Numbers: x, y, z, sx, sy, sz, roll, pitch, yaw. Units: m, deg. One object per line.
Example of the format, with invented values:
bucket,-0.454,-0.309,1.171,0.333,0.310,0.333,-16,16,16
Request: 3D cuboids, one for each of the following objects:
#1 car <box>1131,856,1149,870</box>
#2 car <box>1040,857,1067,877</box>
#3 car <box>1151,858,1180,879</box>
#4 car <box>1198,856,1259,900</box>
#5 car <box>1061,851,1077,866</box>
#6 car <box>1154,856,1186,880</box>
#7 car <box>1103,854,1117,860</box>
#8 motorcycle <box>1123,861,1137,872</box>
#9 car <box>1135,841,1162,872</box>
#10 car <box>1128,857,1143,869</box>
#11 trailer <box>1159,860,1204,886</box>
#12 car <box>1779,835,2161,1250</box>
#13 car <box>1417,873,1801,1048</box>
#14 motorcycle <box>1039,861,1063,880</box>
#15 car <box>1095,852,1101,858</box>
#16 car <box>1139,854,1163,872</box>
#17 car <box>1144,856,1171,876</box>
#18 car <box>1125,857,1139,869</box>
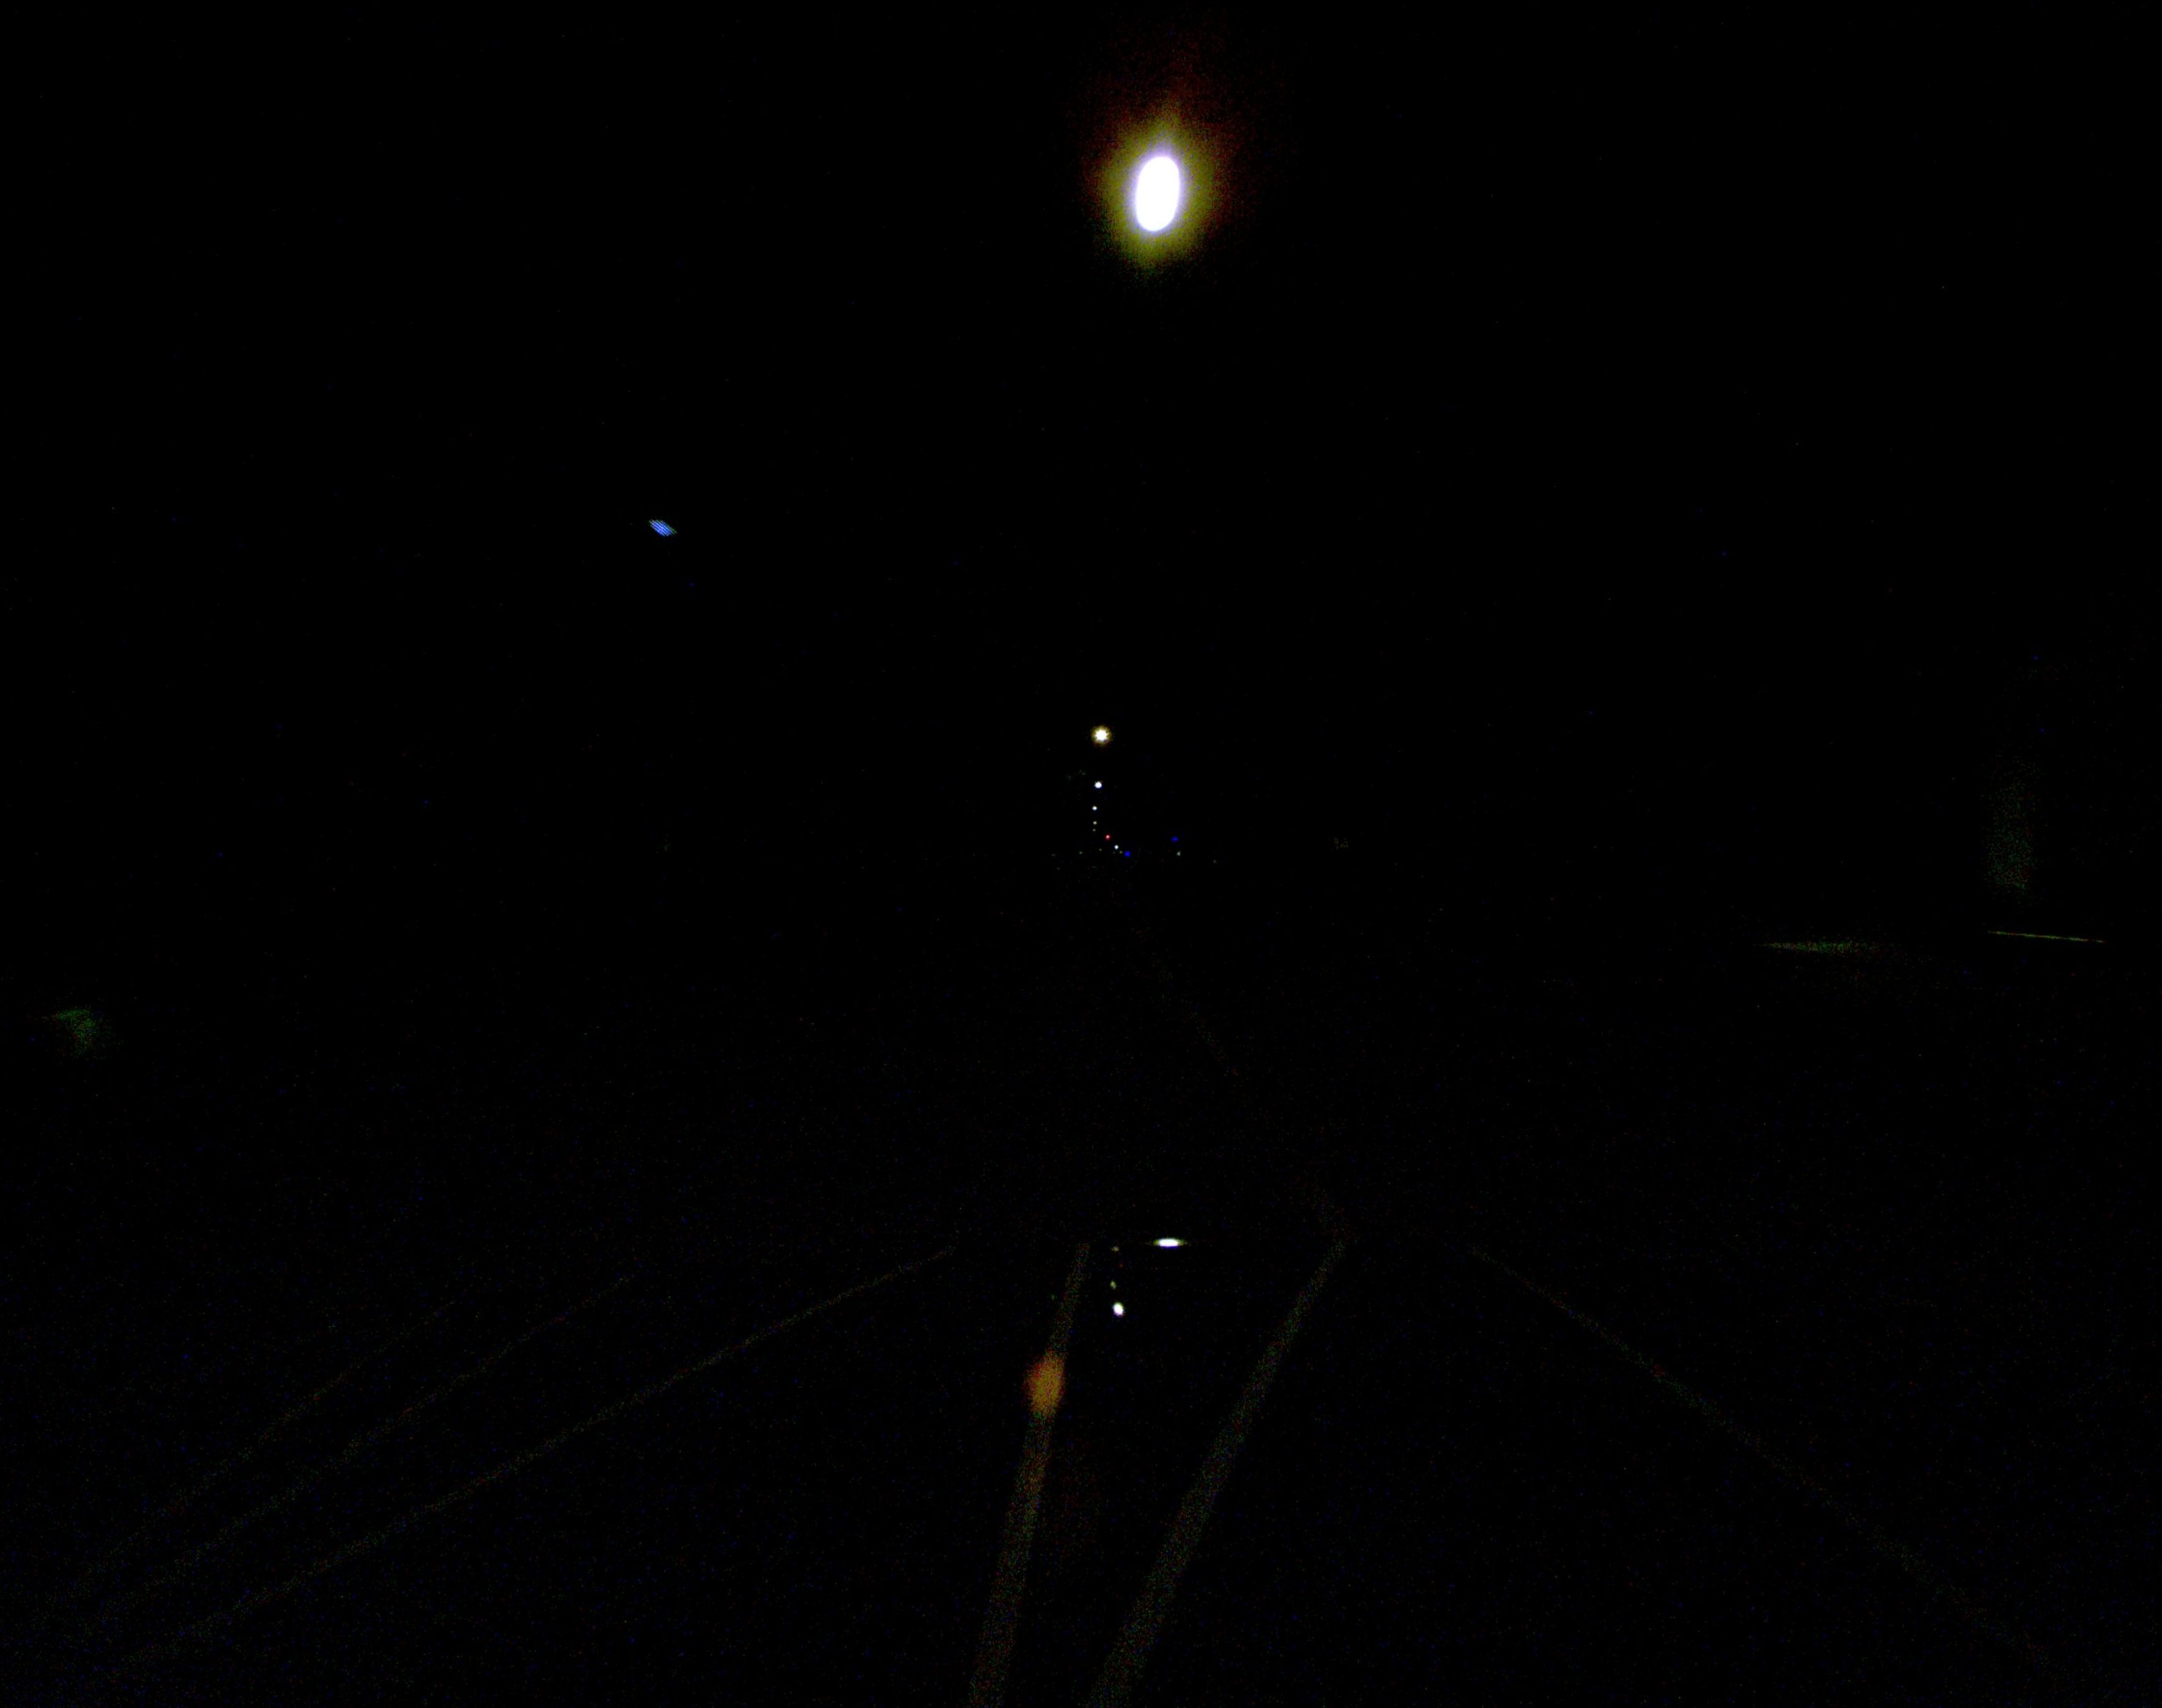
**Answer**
car,6.656,1.020,86.252,1.649,1.496,3.861,-3,0,0
car,-2.118,1.005,59.065,1.672,1.420,4.148,1,0,3
car,6.526,1.101,59.164,1.709,1.403,4.633,-2,0,0
car,5.939,0.924,31.064,1.826,1.589,4.073,-2,0,2
car,-1.592,0.610,101.182,1.956,1.952,4.603,-1,0,0
car,6.324,0.967,54.240,1.721,1.493,4.205,-3,0,0
car,8.084,0.895,212.041,3.763,1.576,1.634,0,0,-3
motorcycle,7.349,1.874,113.109,1.909,1.541,0.638,-3,1,-19
car,6.674,0.283,75.669,2.184,2.892,4.909,-2,0,0
car,6.647,1.084,92.472,1.551,1.447,3.368,-3,0,0
trailer,6.036,1.093,46.150,2.115,1.327,5.435,-3,0,2
car,5.670,0.823,3.096,1.826,1.801,4.210,-3,0,2
car,5.667,1.016,8.840,1.704,1.425,3.828,-3,0,-1
motorcycle,-2.094,1.132,53.250,0.930,1.276,2.230,-1,1,-24
car,5.118,0.352,229.276,1.936,1.646,3.833,0,0,0
car,6.436,0.871,70.068,1.746,1.597,4.116,1,-1,0
car,6.456,0.967,64.640,1.746,1.597,4.297,-1,0,-1
car,6.922,1.208,102.997,1.646,1.495,3.903,-3,0,0
